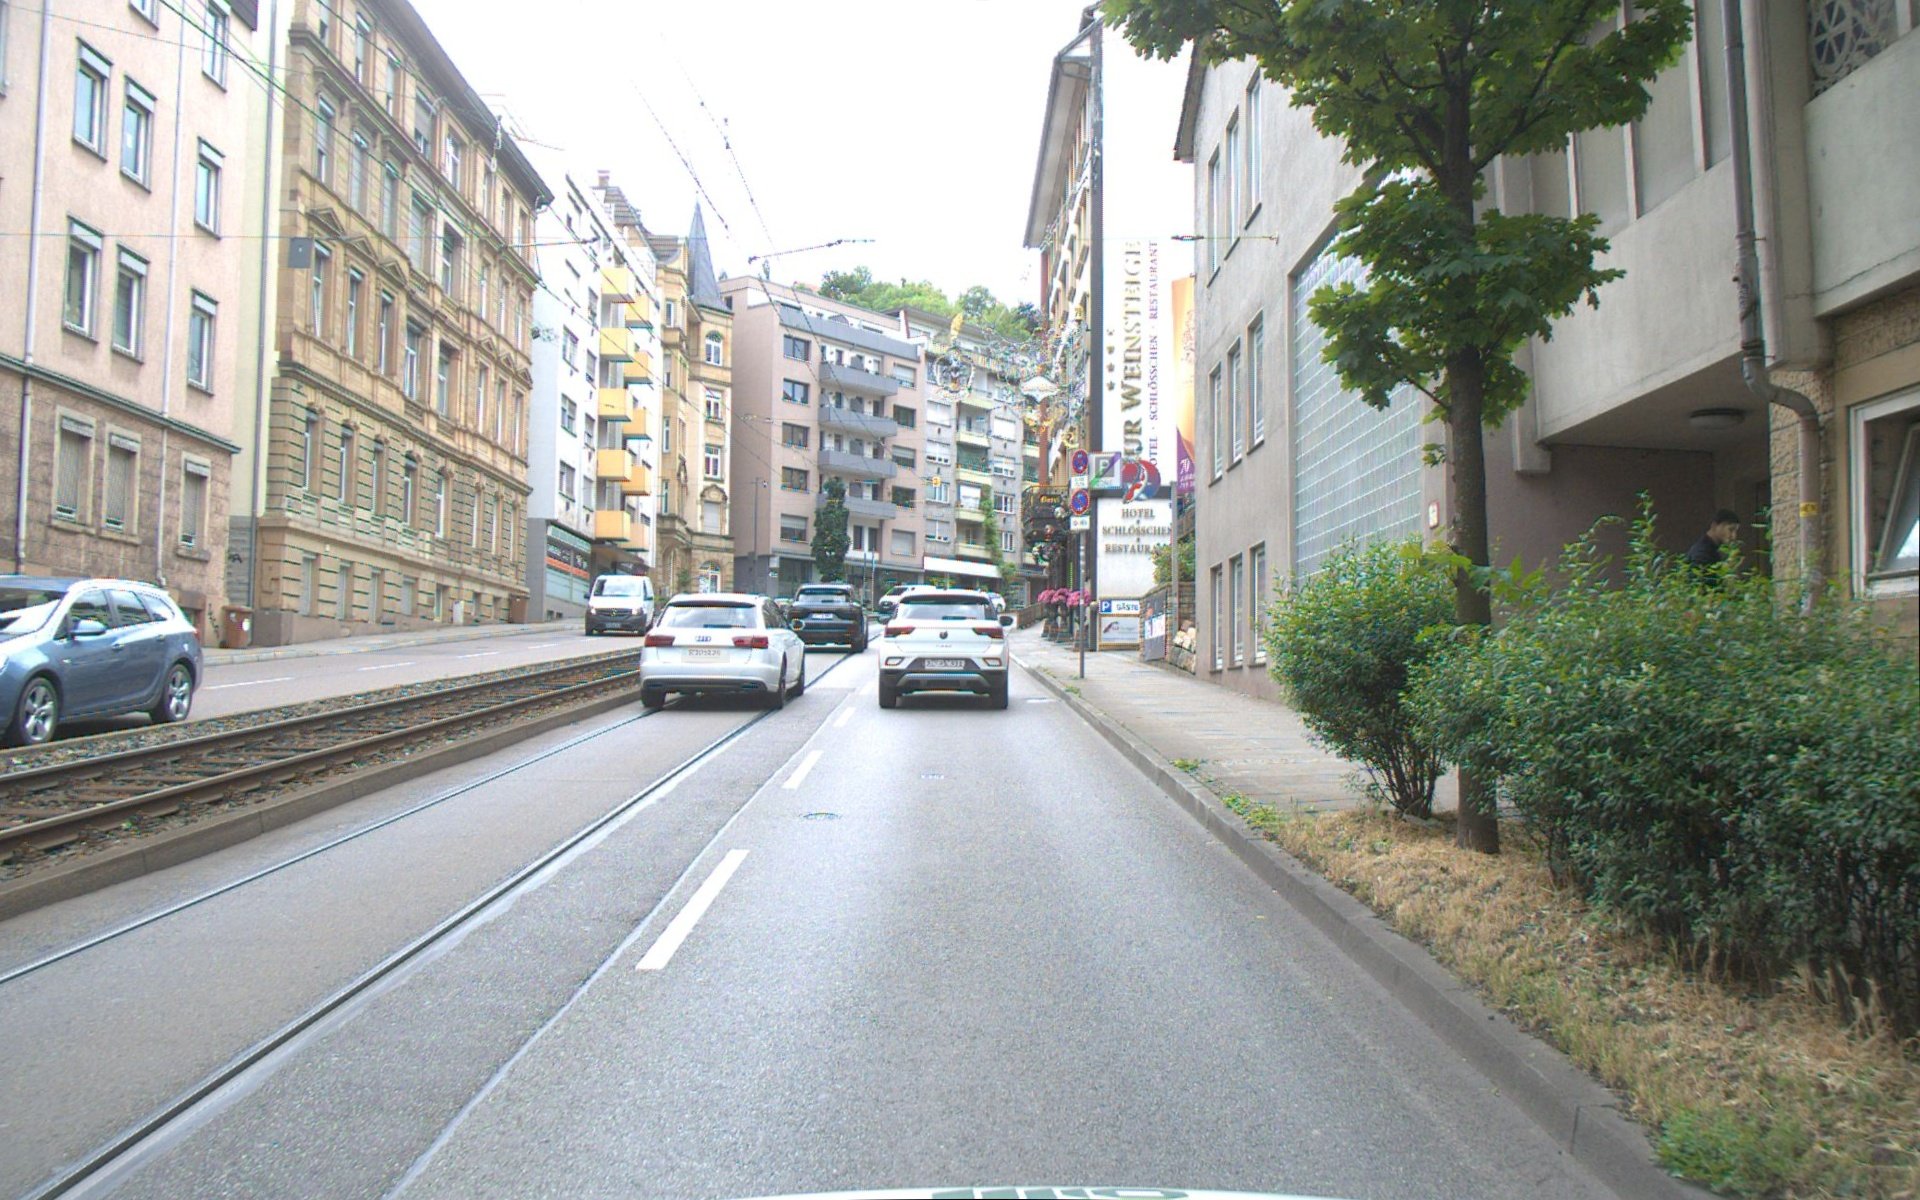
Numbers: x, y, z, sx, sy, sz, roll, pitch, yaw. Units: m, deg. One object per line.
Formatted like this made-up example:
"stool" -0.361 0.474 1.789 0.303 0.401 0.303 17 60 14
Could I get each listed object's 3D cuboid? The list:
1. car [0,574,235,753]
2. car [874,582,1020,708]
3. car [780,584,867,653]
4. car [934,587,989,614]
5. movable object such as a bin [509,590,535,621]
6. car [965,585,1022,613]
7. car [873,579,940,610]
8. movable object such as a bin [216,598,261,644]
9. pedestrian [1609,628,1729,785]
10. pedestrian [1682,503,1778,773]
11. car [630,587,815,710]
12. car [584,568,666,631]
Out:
"car" -8.887 0.500 15.914 1.806 1.480 4.660 1 0 -1
"car" -0.154 0.568 23.240 1.840 1.582 4.000 1 0 0
"car" -3.372 0.426 41.455 1.997 1.599 4.356 1 1 -3
"car" 0.127 0.033 109.923 1.763 1.758 3.987 1 0 34
"movable object such as a bin" -15.478 0.183 58.443 0.754 1.092 0.561 1 0 -1
"car" 2.388 -0.084 117.713 1.872 1.956 4.418 1 0 36
"car" -3.545 -0.358 110.918 1.961 2.071 4.681 1 0 37
"movable object such as a bin" -15.504 0.455 35.554 0.616 0.926 0.676 4 0 -1
"pedestrian" 4.643 0.685 10.861 0.514 0.981 0.607 1 0 0
"pedestrian" 5.645 0.264 12.126 0.599 1.908 0.591 1 0 26
"car" -3.123 0.583 22.623 1.840 1.480 4.617 1 0 0
"car" -10.830 -0.038 53.870 1.918 1.933 5.314 1 1 -4
